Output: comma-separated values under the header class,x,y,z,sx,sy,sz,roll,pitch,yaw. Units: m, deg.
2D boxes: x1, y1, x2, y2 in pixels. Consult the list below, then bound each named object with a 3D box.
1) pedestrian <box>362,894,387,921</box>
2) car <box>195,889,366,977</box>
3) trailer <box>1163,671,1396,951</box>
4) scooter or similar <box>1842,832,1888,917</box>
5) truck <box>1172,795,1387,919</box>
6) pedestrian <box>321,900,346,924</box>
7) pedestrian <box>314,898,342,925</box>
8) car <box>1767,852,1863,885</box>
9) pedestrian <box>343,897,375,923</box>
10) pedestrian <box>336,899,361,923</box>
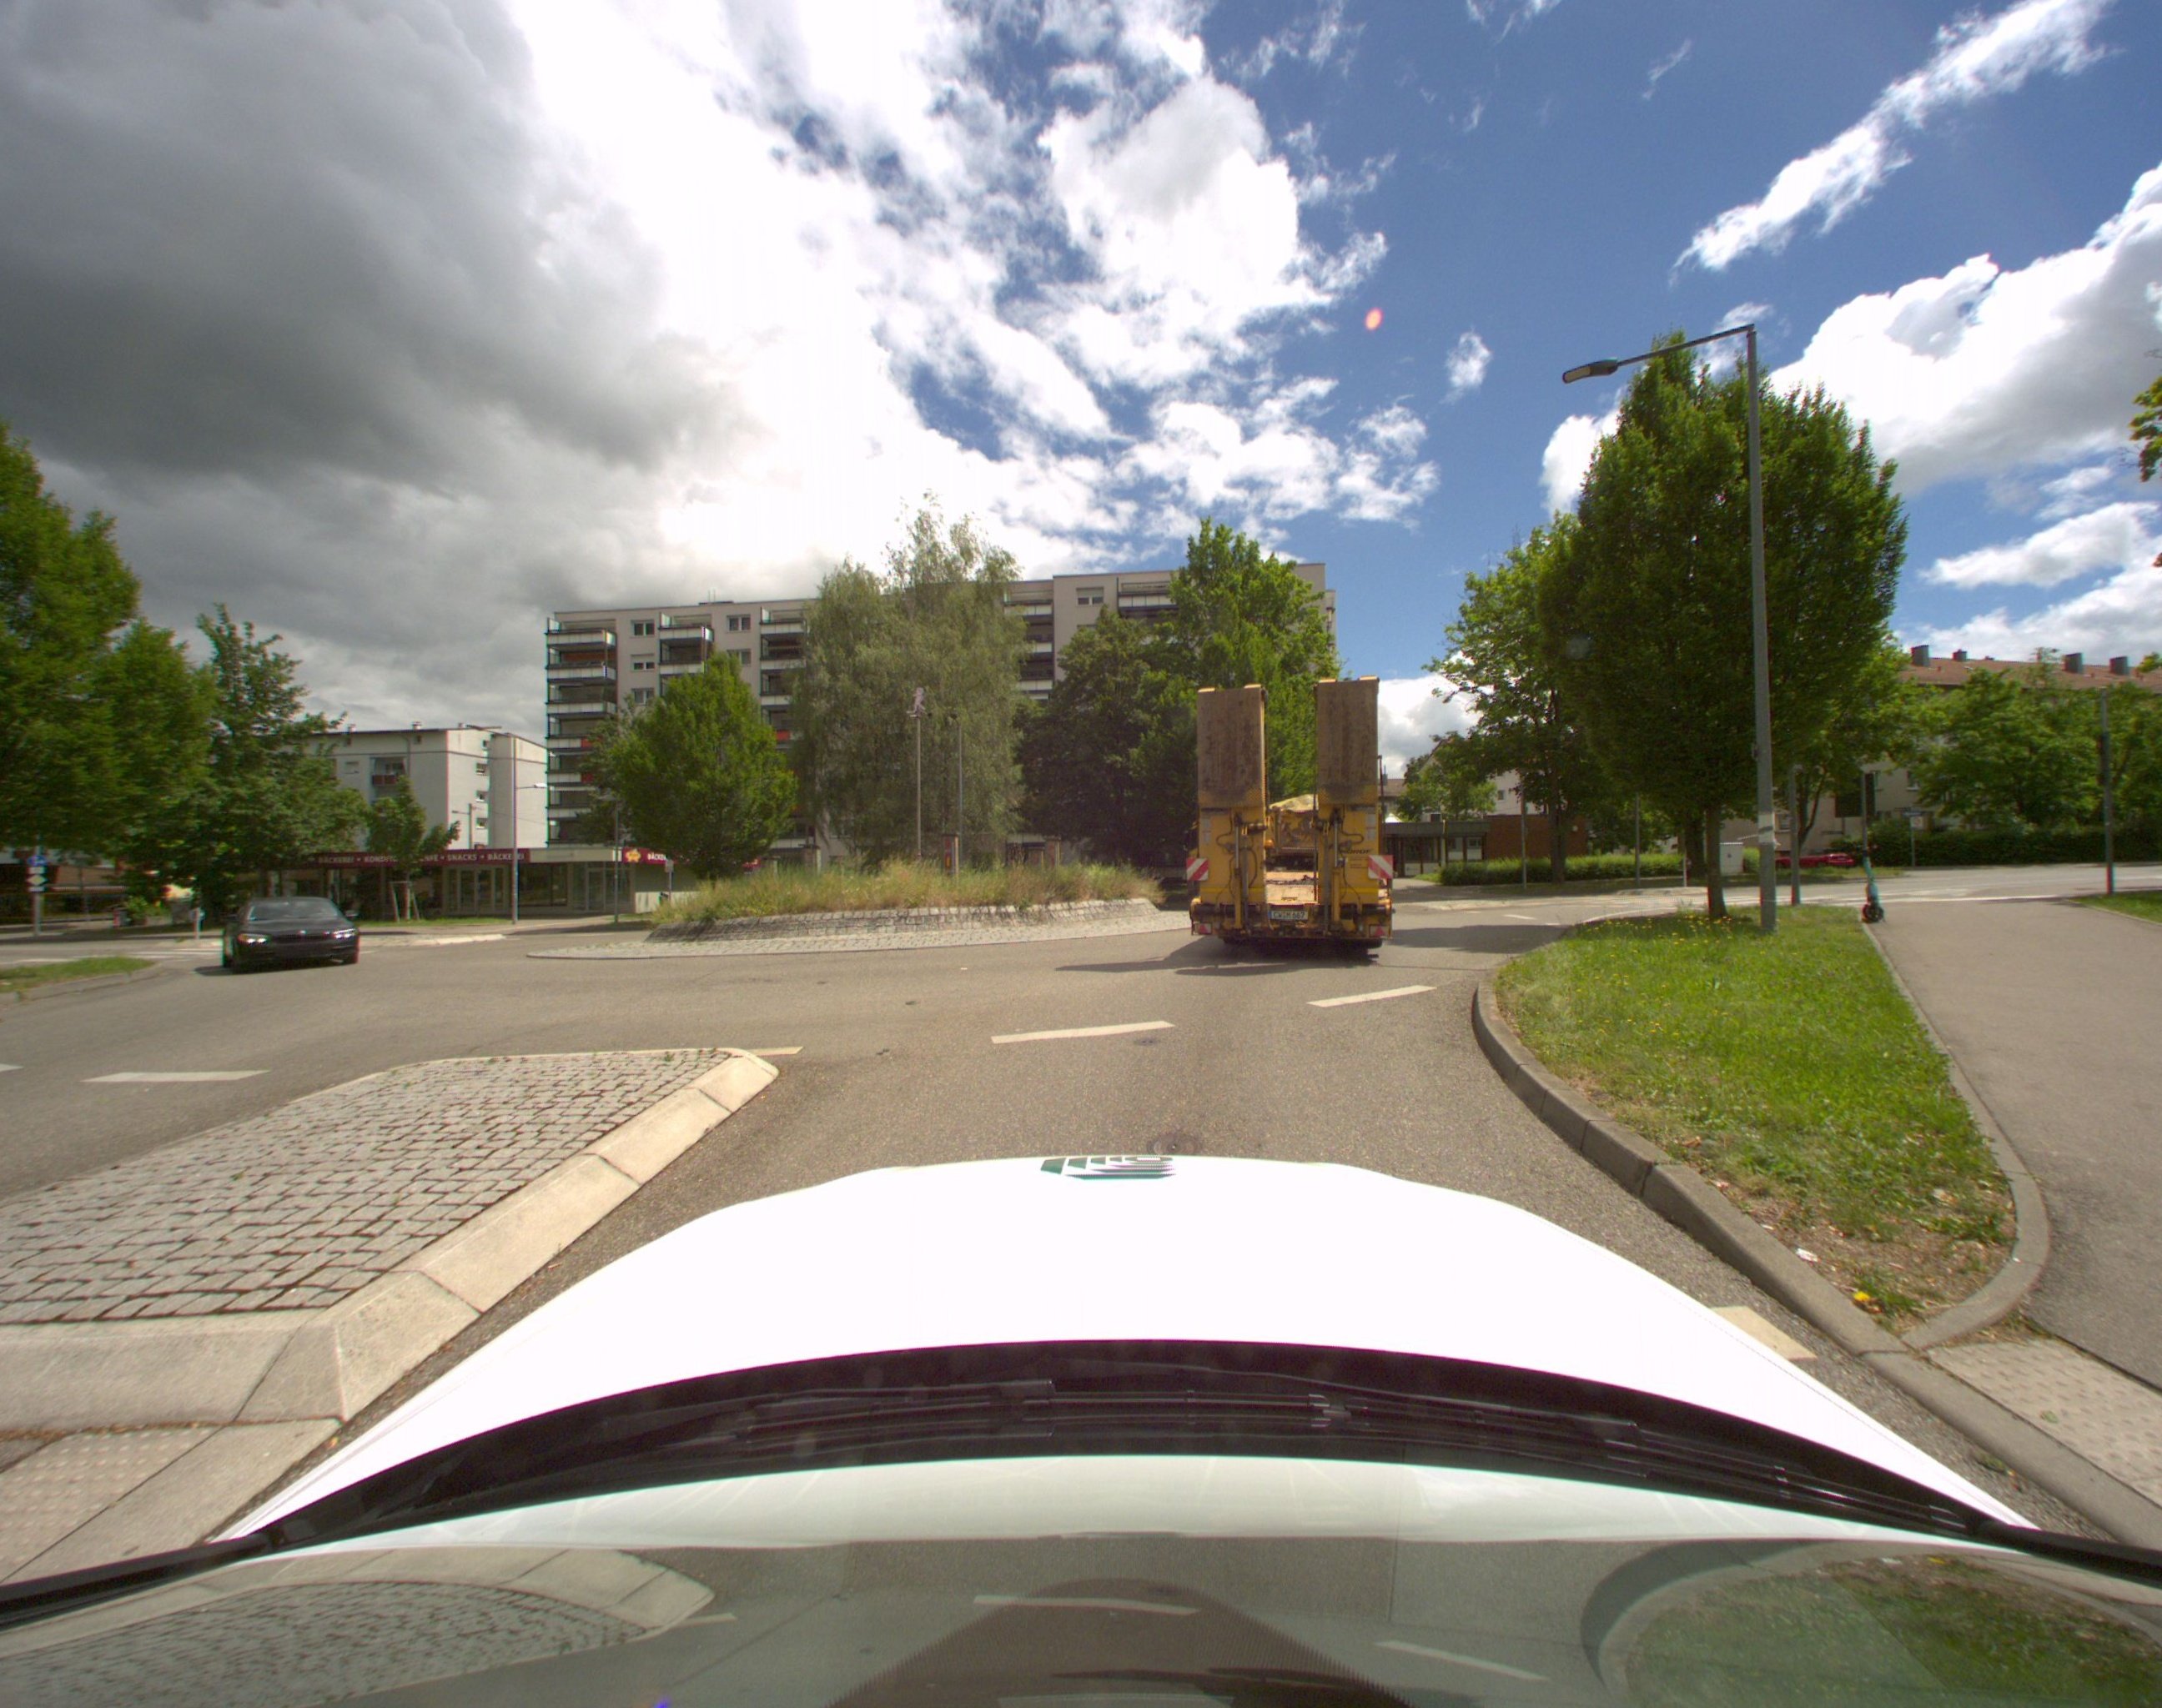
class,x,y,z,sx,sy,sz,roll,pitch,yaw
pedestrian,-37.750,2.835,43.504,0.692,1.381,0.722,-2,-1,12
car,-16.694,1.531,16.918,4.331,1.455,1.871,0,-1,37
trailer,4.171,-0.448,15.390,2.840,3.372,10.891,0,-1,19
scooter or similar,13.173,0.330,13.698,0.480,1.343,1.397,-3,-1,44
truck,5.517,0.117,24.747,2.990,3.035,8.452,-2,-1,-11
pedestrian,-39.374,3.042,42.909,0.691,1.201,0.723,-3,-1,19
pedestrian,-38.790,2.967,41.957,0.604,1.325,0.884,-2,-1,14
car,44.788,0.888,49.832,2.011,1.941,3.987,0,-1,-9
pedestrian,-37.785,2.923,42.642,0.816,1.325,0.882,0,-1,5
pedestrian,-39.082,3.049,43.460,0.691,1.201,0.723,-3,-1,19
